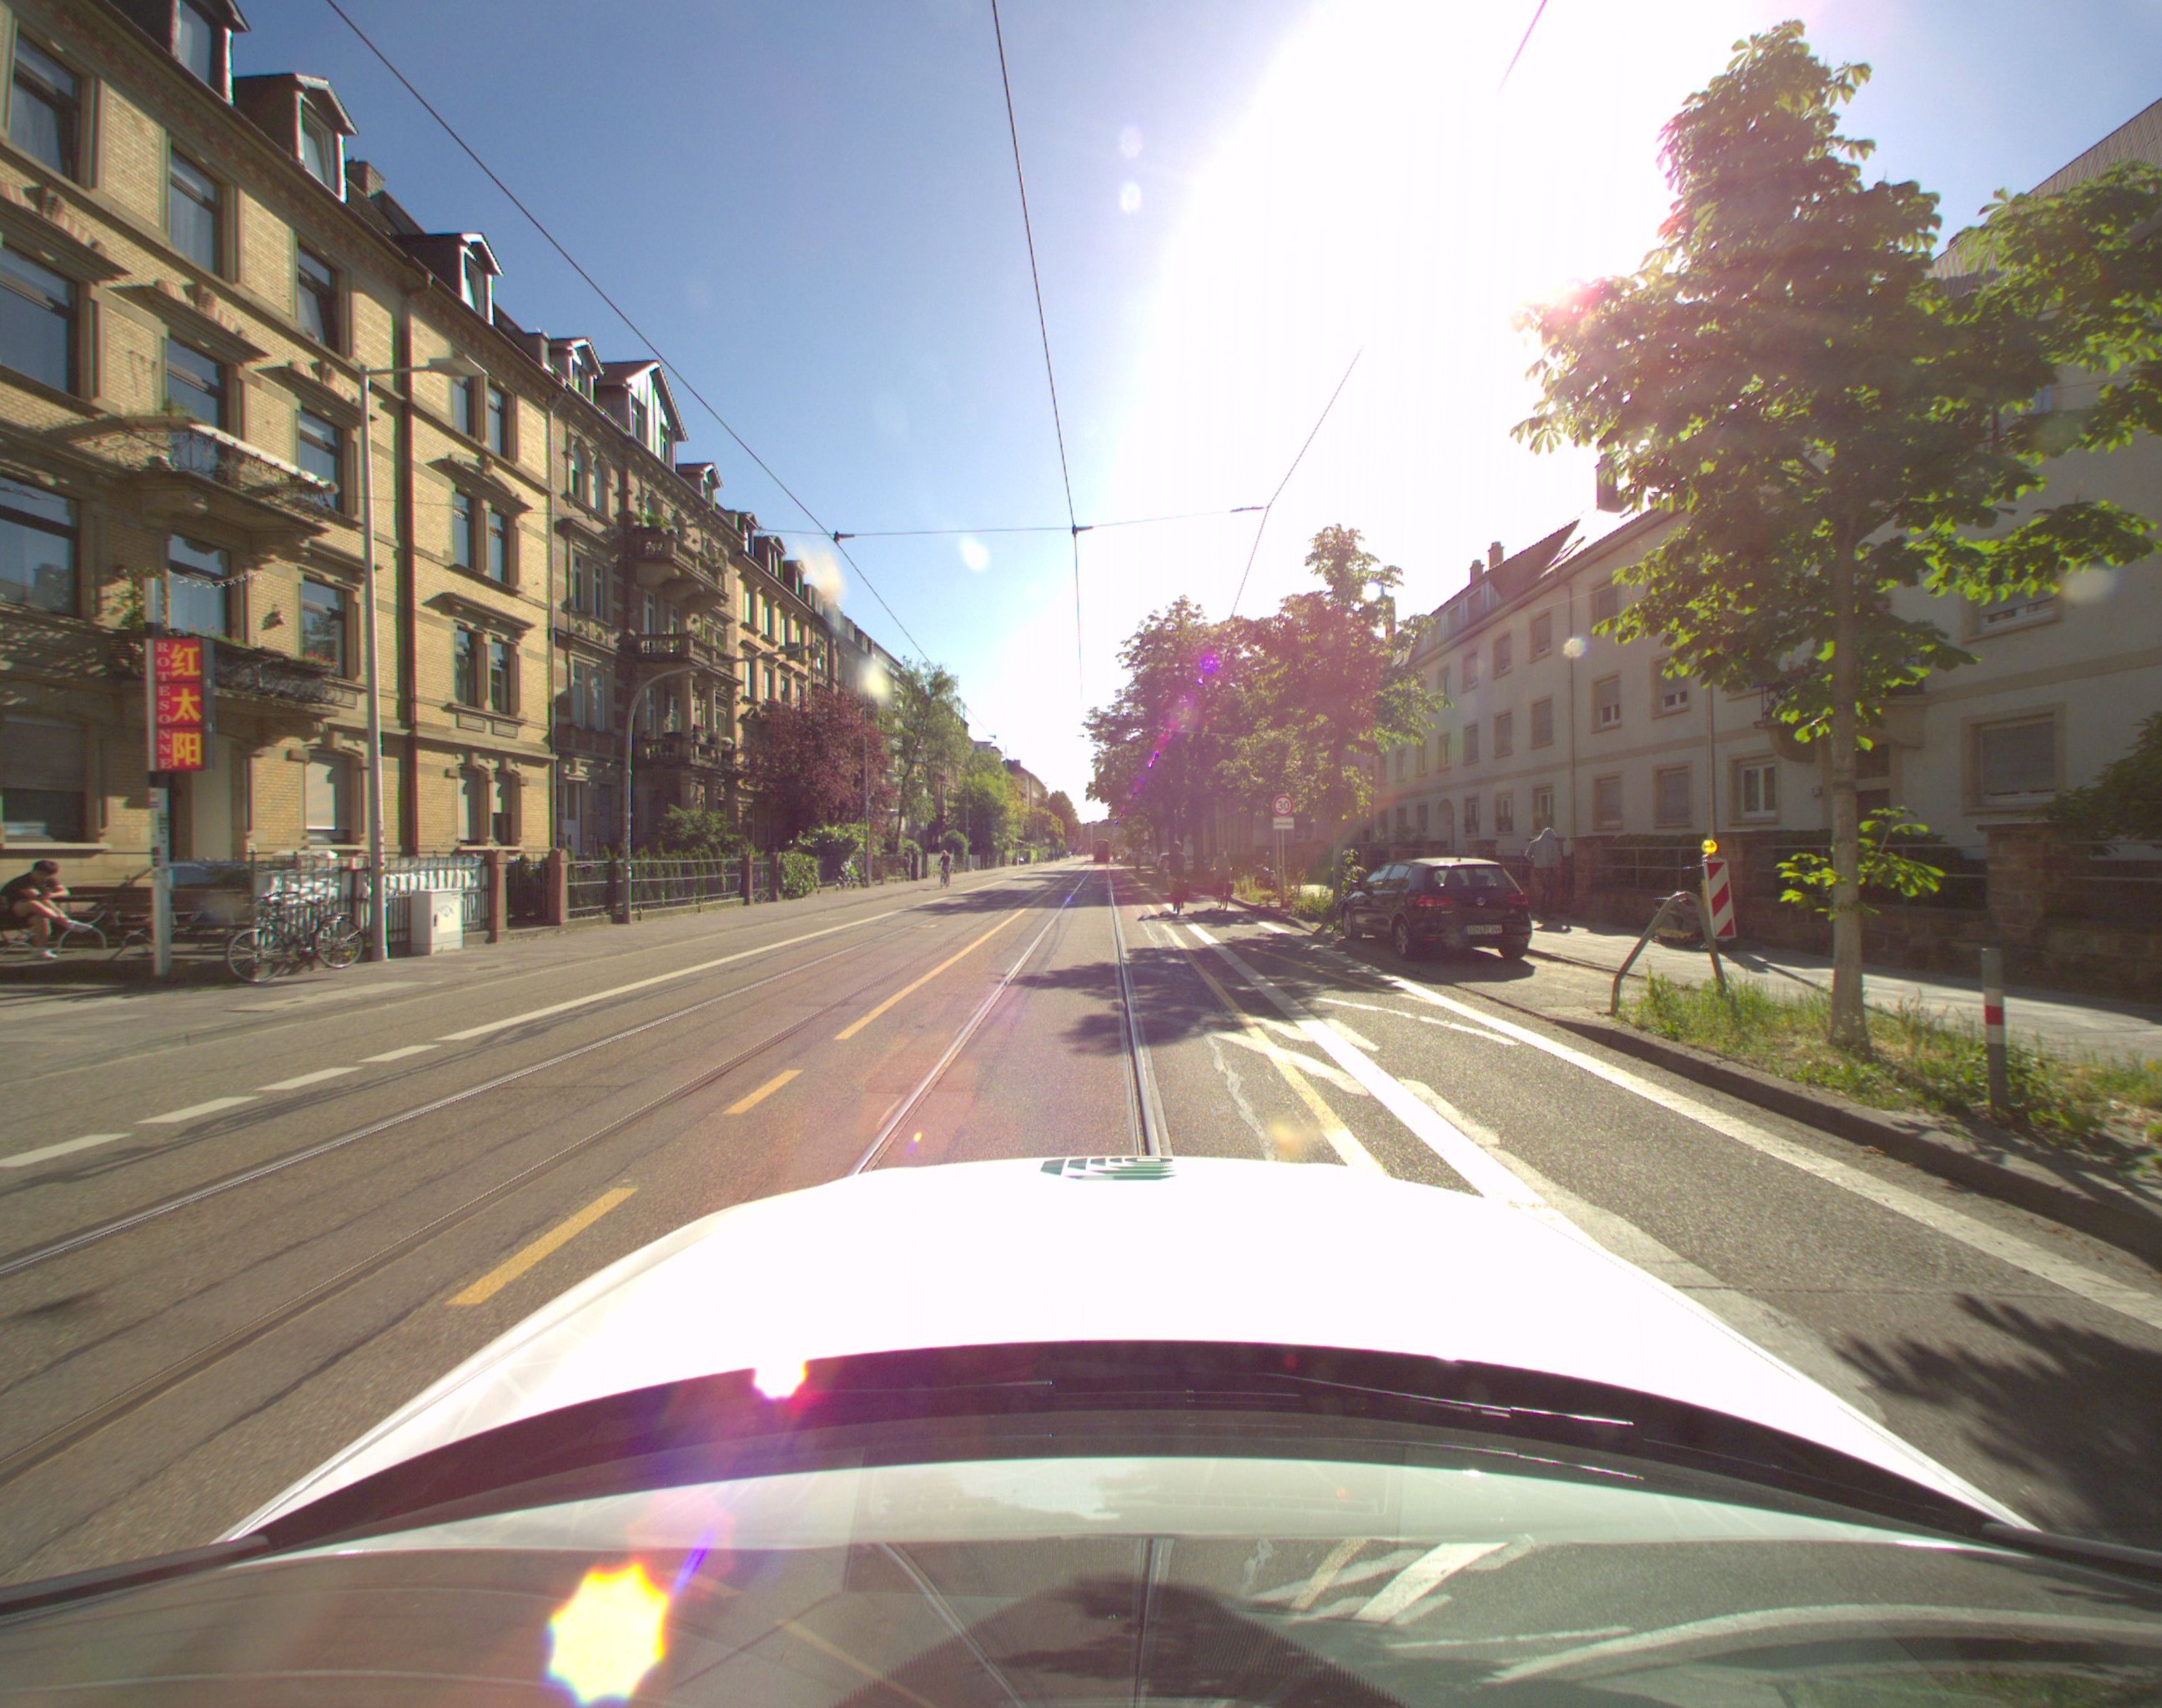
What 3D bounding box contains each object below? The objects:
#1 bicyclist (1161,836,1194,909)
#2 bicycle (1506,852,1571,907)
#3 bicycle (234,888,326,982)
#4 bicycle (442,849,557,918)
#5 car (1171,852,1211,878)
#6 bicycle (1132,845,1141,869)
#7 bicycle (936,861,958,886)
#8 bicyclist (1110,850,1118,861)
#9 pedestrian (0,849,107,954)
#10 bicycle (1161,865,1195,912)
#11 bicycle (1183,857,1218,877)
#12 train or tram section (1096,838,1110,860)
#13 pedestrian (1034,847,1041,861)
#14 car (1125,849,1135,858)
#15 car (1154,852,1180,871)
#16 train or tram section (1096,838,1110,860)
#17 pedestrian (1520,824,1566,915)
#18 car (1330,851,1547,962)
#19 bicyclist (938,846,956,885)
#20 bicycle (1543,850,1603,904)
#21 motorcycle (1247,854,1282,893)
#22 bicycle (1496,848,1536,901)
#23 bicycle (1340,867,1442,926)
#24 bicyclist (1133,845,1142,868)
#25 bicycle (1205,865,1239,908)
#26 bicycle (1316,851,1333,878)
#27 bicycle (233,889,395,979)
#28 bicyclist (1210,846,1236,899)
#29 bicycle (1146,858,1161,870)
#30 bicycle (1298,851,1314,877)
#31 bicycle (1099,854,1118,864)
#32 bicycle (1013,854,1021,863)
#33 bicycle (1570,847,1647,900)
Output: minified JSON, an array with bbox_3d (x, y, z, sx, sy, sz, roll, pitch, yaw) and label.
[{"bbox_3d":[2.472,0.465,20.951,0.725,1.848,0.837,1,0,1],"label":"bicyclist"},{"bbox_3d":[10.288,0.547,18.380,0.446,1.153,1.918,0,0,2],"label":"bicycle"},{"bbox_3d":[-10.385,1.032,10.583,0.369,1.126,0.809,1,0,2],"label":"bicycle"},{"bbox_3d":[-11.527,0.582,16.187,1.761,1.320,0.612,1,0,-8],"label":"bicycle"},{"bbox_3d":[6.504,0.598,48.418,1.624,1.436,4.662,-1,0,-2],"label":"car"},{"bbox_3d":[4.385,0.223,64.664,0.660,1.859,2.261,1,0,3],"label":"bicycle"},{"bbox_3d":[-6.393,0.938,38.974,0.689,1.112,1.719,-2,0,2],"label":"bicycle"},{"bbox_3d":[3.985,0.158,97.213,0.766,1.291,0.736,1,0,17],"label":"bicyclist"},{"bbox_3d":[-14.038,0.632,11.055,0.897,1.352,0.577,-2,0,3],"label":"pedestrian"},{"bbox_3d":[2.473,0.873,20.906,0.689,1.112,1.719,1,0,2],"label":"bicycle"},{"bbox_3d":[6.631,0.712,45.194,1.786,1.019,0.620,-3,0,0],"label":"bicycle"},{"bbox_3d":[3.635,-0.838,134.086,2.145,3.431,6.613,1,0,1],"label":"train or tram section"},{"bbox_3d":[-5.393,-0.038,100.291,0.767,1.712,0.669,1,0,1],"label":"pedestrian"},{"bbox_3d":[8.966,-0.127,149.823,1.748,1.552,3.678,1,0,1],"label":"car"},{"bbox_3d":[7.059,0.577,67.022,1.742,1.420,4.001,-2,0,1],"label":"car"},{"bbox_3d":[3.466,-0.801,127.447,2.145,3.431,6.613,1,0,1],"label":"train or tram section"},{"bbox_3d":[9.037,0.292,15.930,0.755,1.724,0.583,1,0,30],"label":"pedestrian"},{"bbox_3d":[5.450,0.696,13.033,1.780,1.464,4.046,-1,0,1],"label":"car"},{"bbox_3d":[-6.403,0.531,38.838,0.658,1.801,0.616,-3,-1,1],"label":"bicyclist"},{"bbox_3d":[11.076,0.492,18.380,0.439,1.153,1.575,1,0,2],"label":"bicycle"},{"bbox_3d":[6.155,0.635,27.413,0.494,1.190,1.858,-4,1,-6],"label":"motorcycle"},{"bbox_3d":[10.790,0.480,20.231,0.346,1.261,1.427,1,0,6],"label":"bicycle"},{"bbox_3d":[6.183,0.838,16.301,1.789,1.067,0.620,-2,0,-4],"label":"bicycle"},{"bbox_3d":[4.453,0.207,64.084,0.643,1.796,0.956,1,0,1],"label":"bicyclist"},{"bbox_3d":[3.940,0.893,22.877,0.689,1.112,1.918,1,0,2],"label":"bicycle"},{"bbox_3d":[11.341,0.463,37.965,0.433,1.223,1.374,0,0,2],"label":"bicycle"},{"bbox_3d":[-10.151,1.014,10.874,0.334,1.001,1.870,1,0,2],"label":"bicycle"},{"bbox_3d":[3.983,0.501,22.876,0.633,1.468,0.616,1,0,1],"label":"bicyclist"},{"bbox_3d":[6.414,0.887,72.436,1.262,1.024,0.706,1,-1,9],"label":"bicycle"},{"bbox_3d":[10.609,0.468,38.413,0.433,1.223,1.374,0,0,2],"label":"bicycle"},{"bbox_3d":[3.322,0.559,97.387,2.123,1.171,0.806,1,0,16],"label":"bicycle"},{"bbox_3d":[-7.658,0.549,97.891,0.634,1.069,1.822,1,0,-15],"label":"bicycle"},{"bbox_3d":[11.941,0.413,18.495,0.542,1.153,1.918,1,0,2],"label":"bicycle"}]
